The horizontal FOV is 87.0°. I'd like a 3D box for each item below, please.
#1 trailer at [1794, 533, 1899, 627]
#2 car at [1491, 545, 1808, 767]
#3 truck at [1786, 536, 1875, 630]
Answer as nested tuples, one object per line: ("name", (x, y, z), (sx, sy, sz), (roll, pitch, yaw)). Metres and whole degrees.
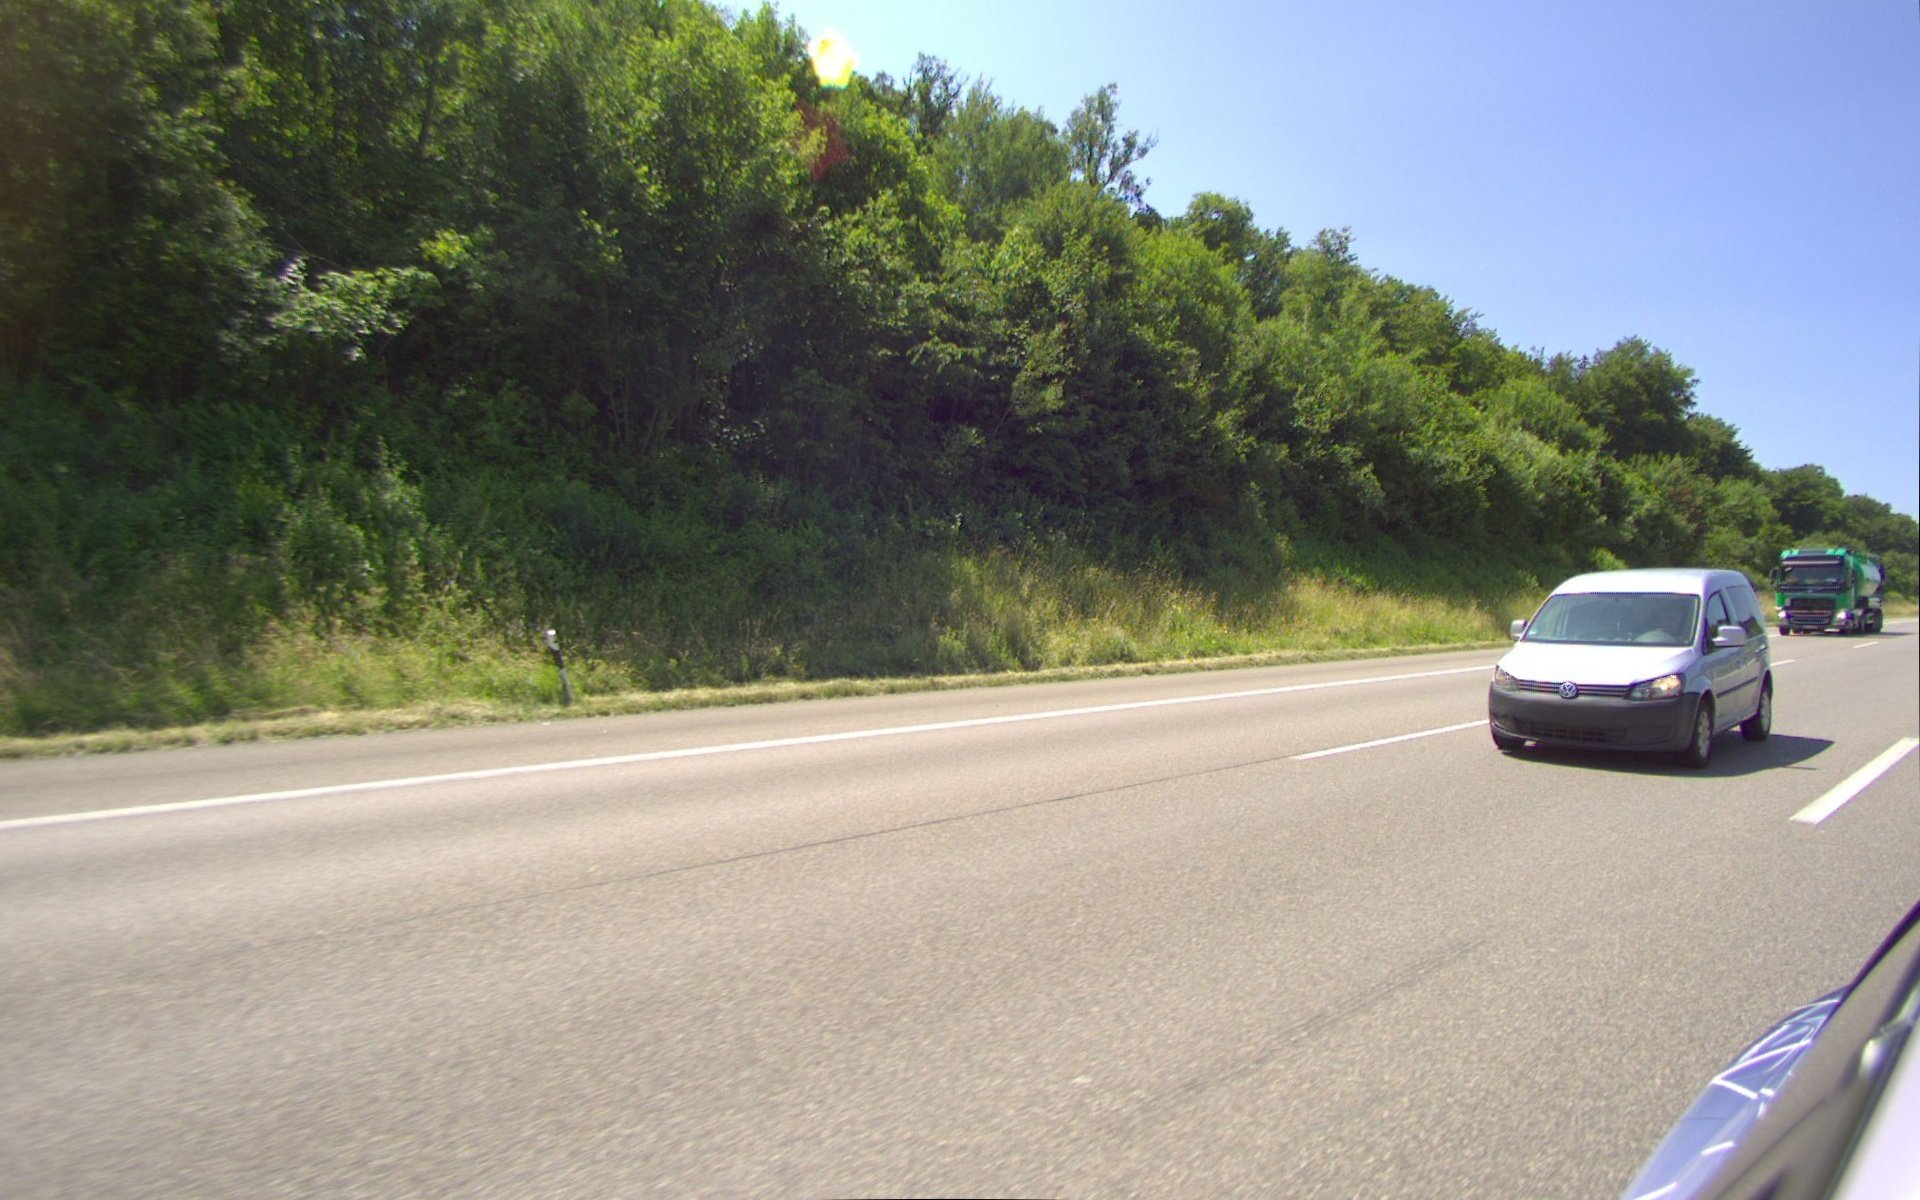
("trailer", (42.451, -0.804, 48.315), (10.289, 4.079, 2.591), (1, -1, -42))
("car", (7.449, 0.459, 10.715), (4.719, 1.853, 1.748), (0, 0, -42))
("truck", (38.290, -0.668, 44.492), (4.810, 3.891, 2.512), (1, -1, -43))
